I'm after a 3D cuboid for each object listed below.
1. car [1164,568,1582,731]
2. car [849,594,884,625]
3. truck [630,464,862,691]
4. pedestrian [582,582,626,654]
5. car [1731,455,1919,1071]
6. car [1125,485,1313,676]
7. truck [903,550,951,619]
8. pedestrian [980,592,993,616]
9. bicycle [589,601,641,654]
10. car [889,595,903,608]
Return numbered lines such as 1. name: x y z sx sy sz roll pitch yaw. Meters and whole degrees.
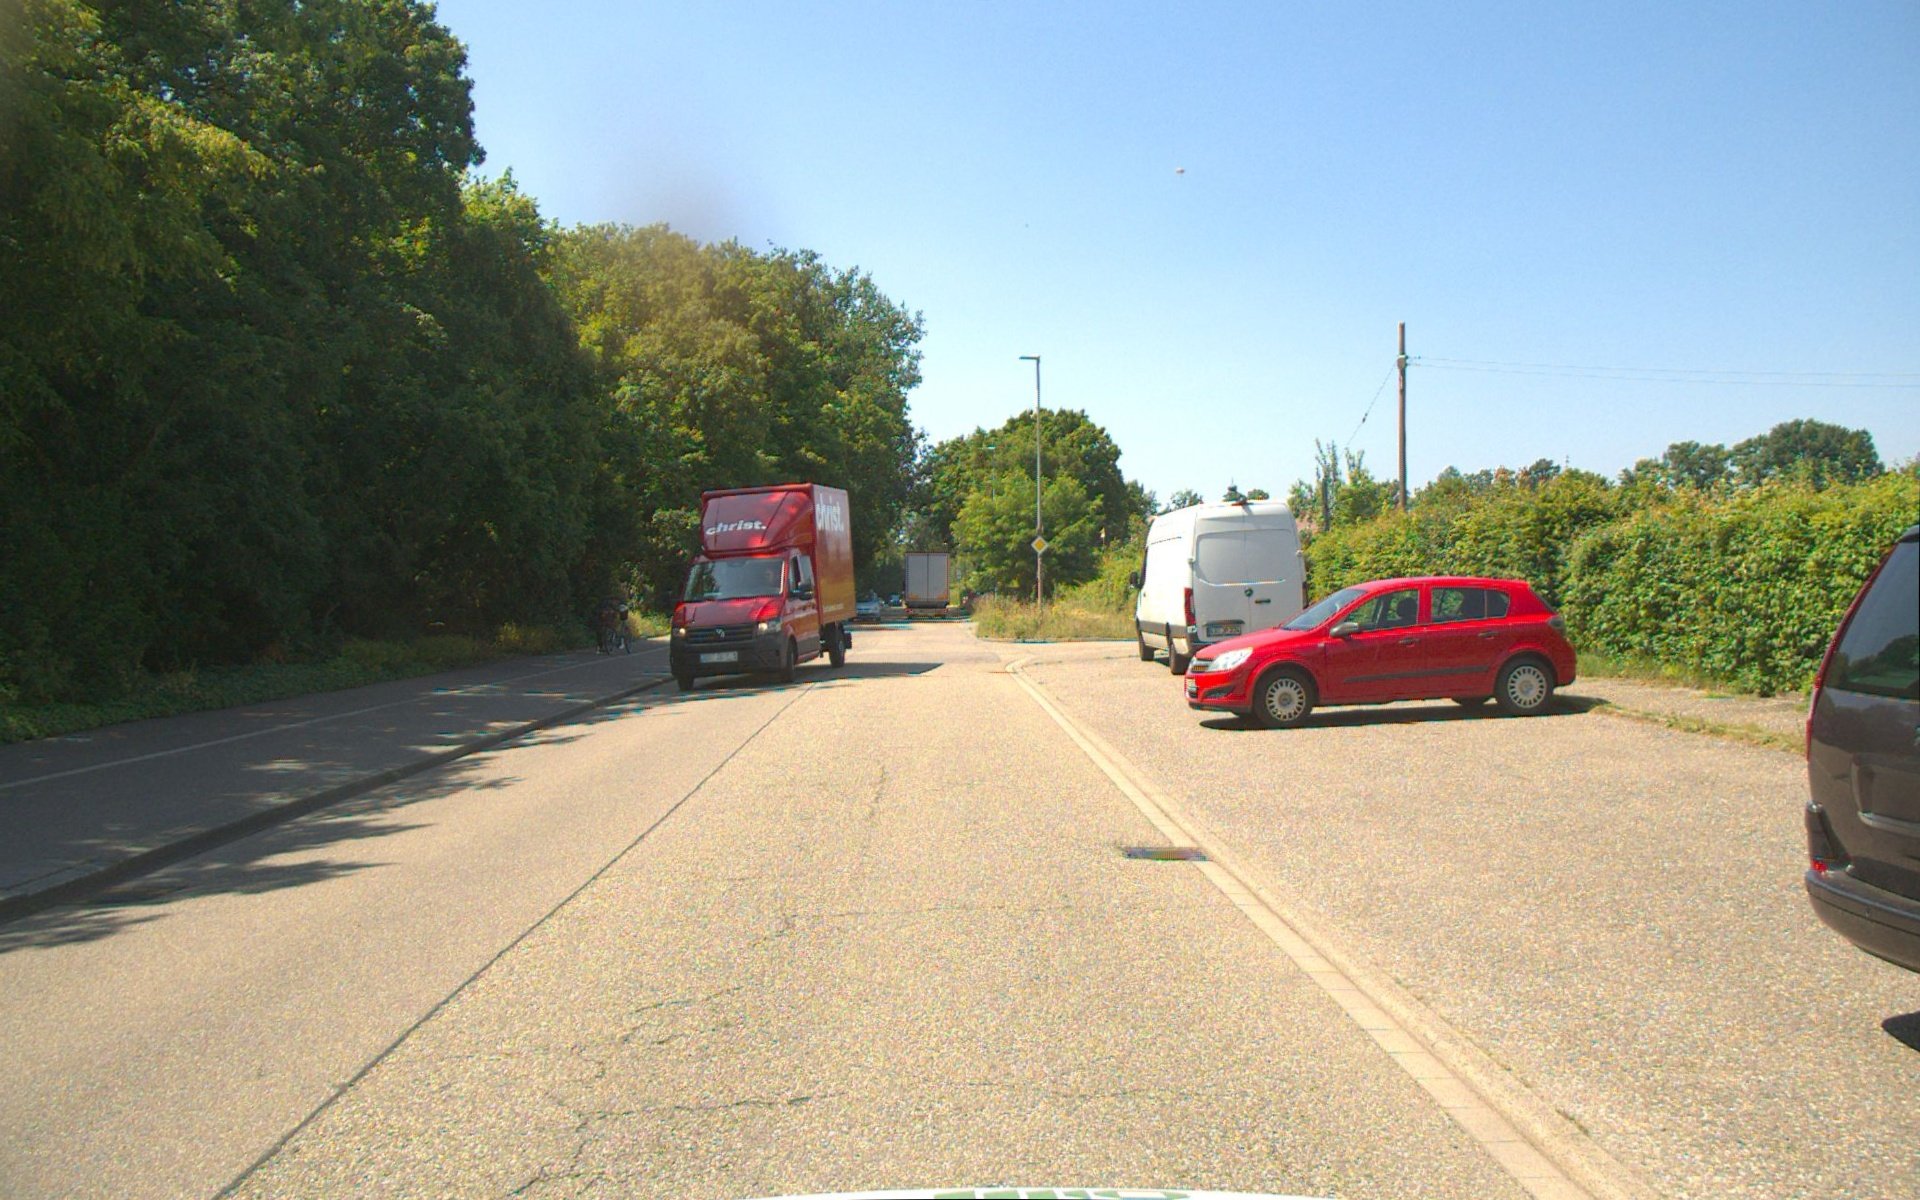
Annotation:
1. car: 4.386 0.499 17.942 3.975 1.459 1.834 -3 0 -5
2. car: -5.055 0.513 89.483 1.755 1.600 4.270 0 1 -2
3. truck: -3.636 -0.404 30.012 2.273 3.500 7.167 -3 0 7
4. pedestrian: -8.734 0.429 40.647 0.791 1.748 0.777 0 0 14
5. car: 5.013 0.378 5.072 4.367 1.836 1.950 -3 0 -6
6. car: 4.245 -0.329 28.420 1.914 2.781 7.166 -3 1 -1
7. truck: -1.936 -0.880 99.391 2.678 3.811 13.243 0 0 -1
8. pedestrian: 1.835 0.283 116.335 0.846 1.706 0.885 -1 0 -3
9. bicycle: -8.441 0.666 40.537 0.510 1.258 1.962 1 0 10
10. car: -9.140 0.202 236.887 1.953 1.713 4.261 -1 0 -1
